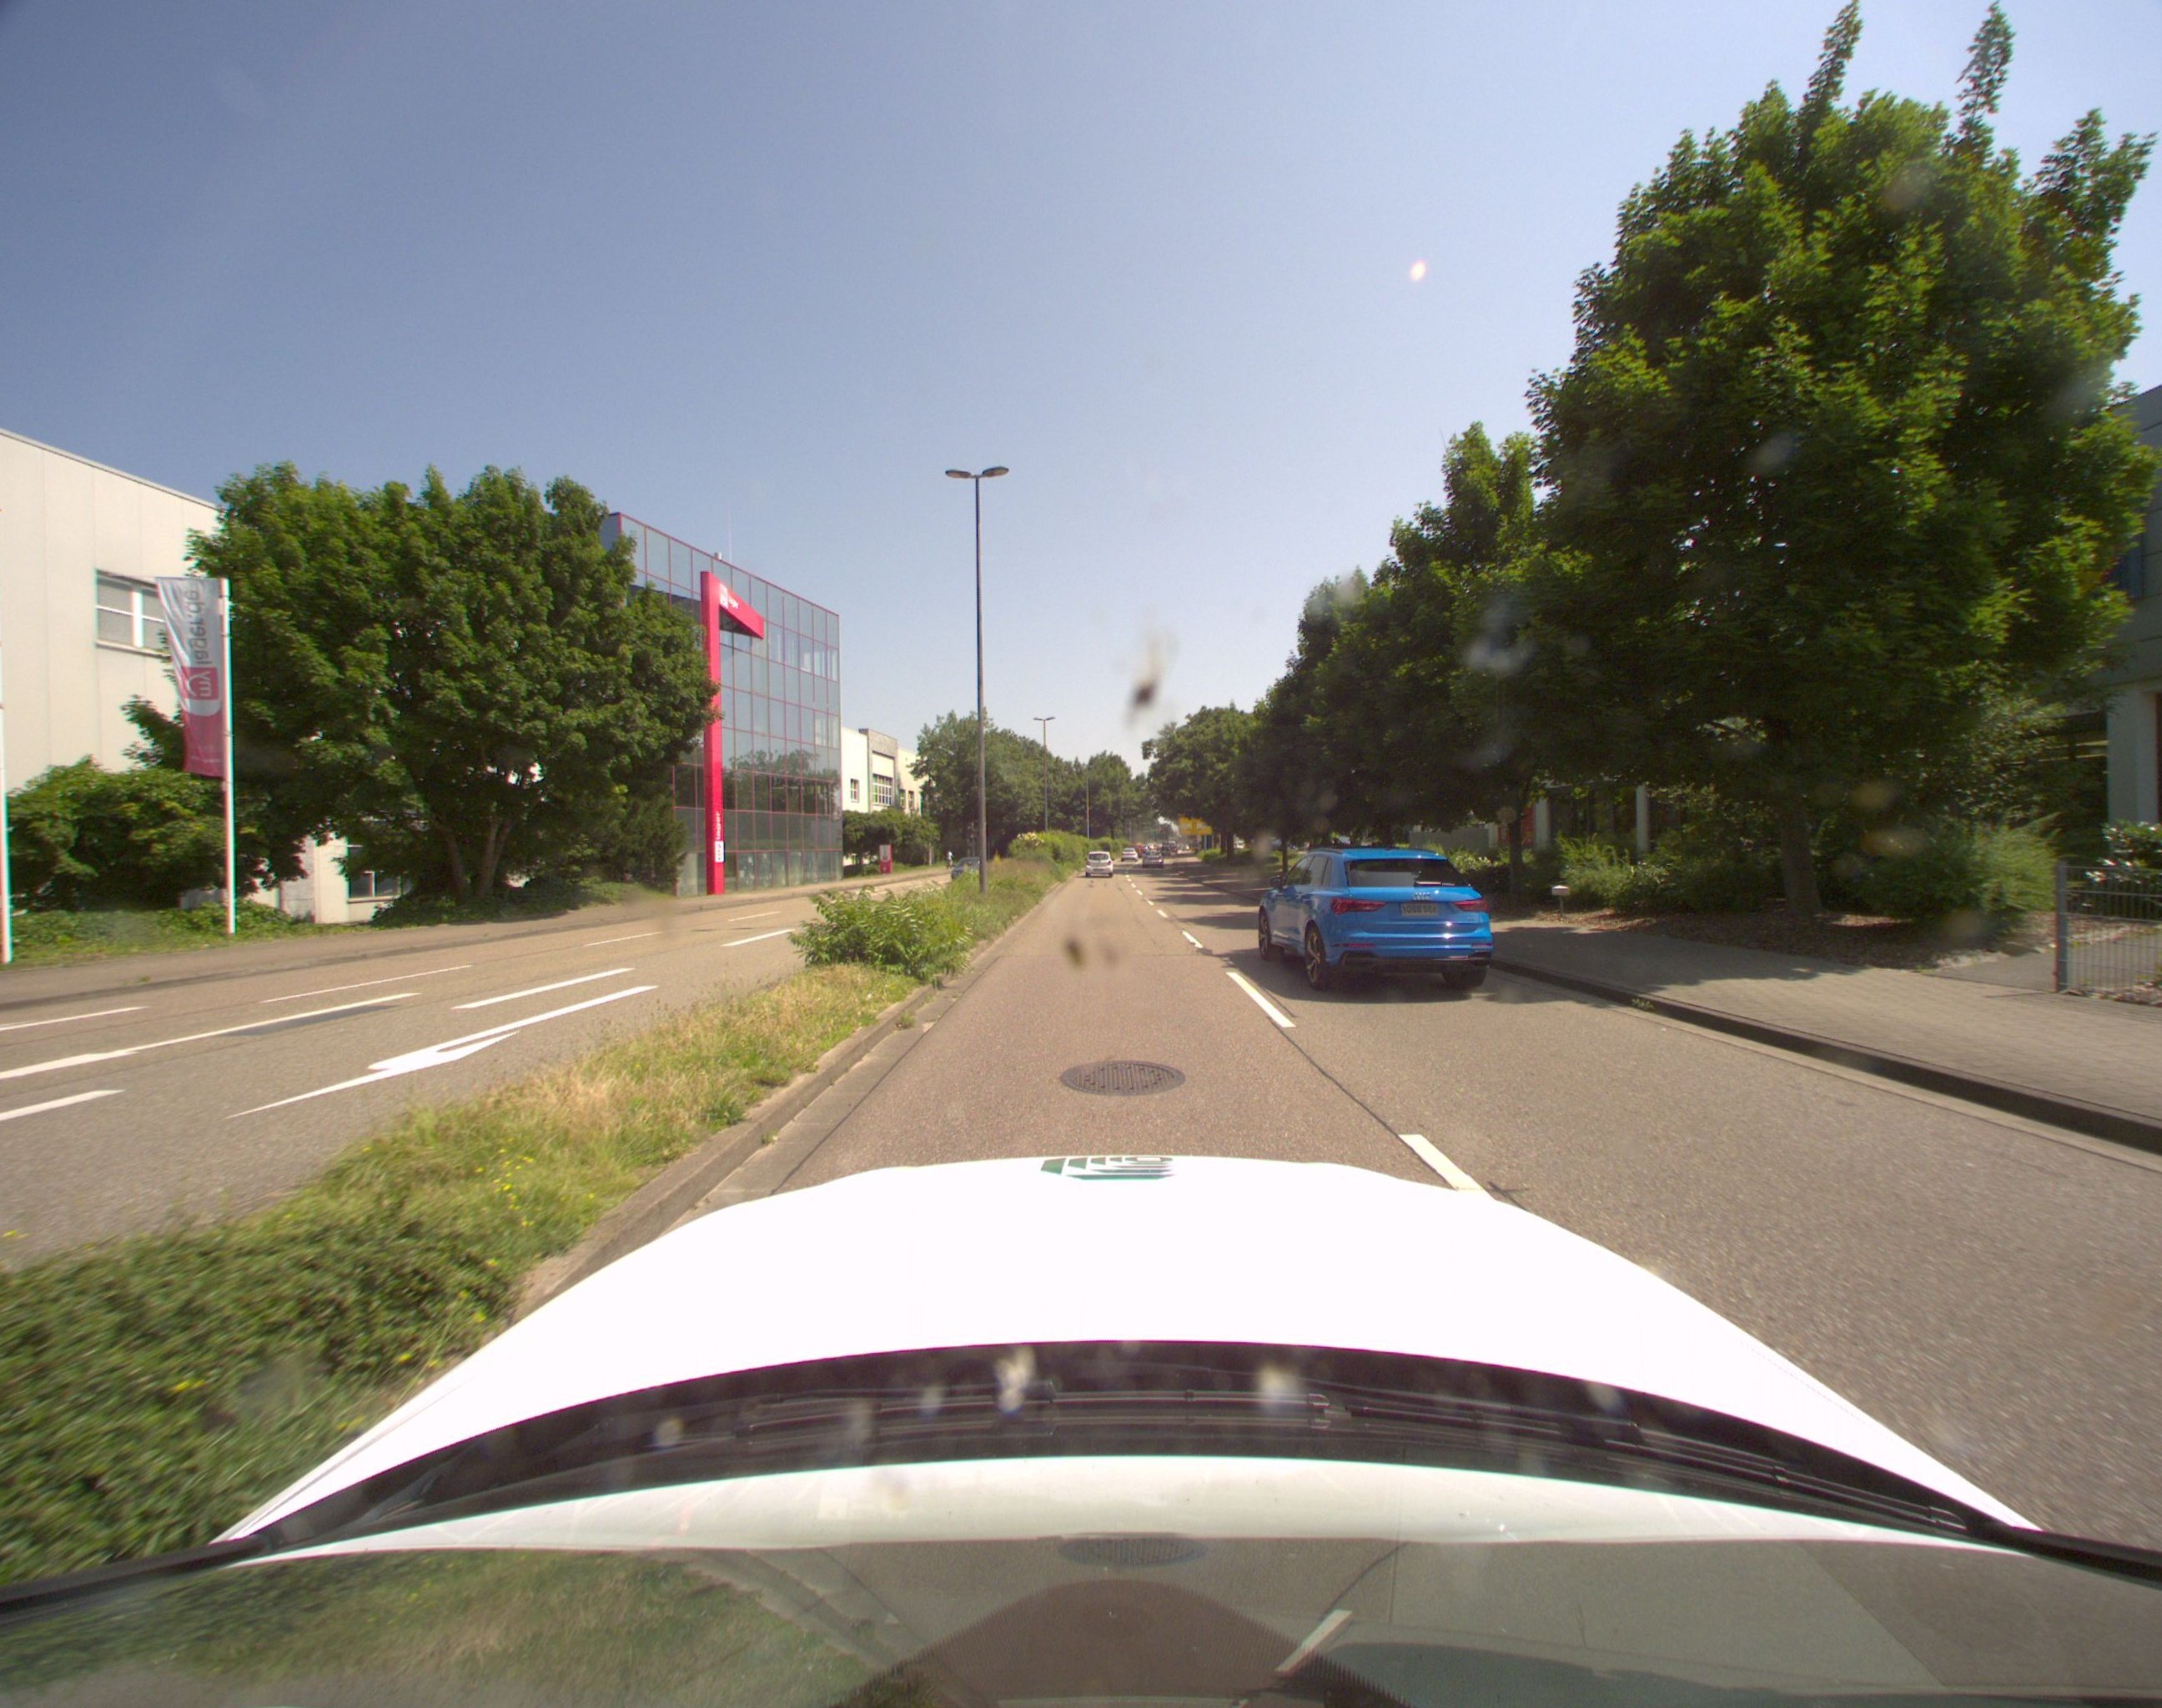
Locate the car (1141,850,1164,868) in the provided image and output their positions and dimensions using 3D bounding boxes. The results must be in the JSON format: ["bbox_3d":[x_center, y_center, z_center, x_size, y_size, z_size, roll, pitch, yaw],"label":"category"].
[{"bbox_3d":[5.977,0.423,67.856,1.857,1.473,4.005,0,0,5],"label":"car"}]

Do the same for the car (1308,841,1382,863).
[{"bbox_3d":[17.940,-0.119,55.571,1.959,1.352,4.669,-2,0,-30],"label":"car"}]

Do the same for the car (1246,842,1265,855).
[{"bbox_3d":[16.264,-0.502,76.107,1.609,1.253,3.774,0,0,10],"label":"car"}]

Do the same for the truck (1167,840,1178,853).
[{"bbox_3d":[26.058,-2.203,232.673,2.916,3.502,9.177,-1,1,7],"label":"truck"}]

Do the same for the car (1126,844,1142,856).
[{"bbox_3d":[6.823,-0.522,104.864,1.875,1.608,4.008,0,0,7],"label":"car"}]

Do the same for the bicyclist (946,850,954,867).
[{"bbox_3d":[-11.465,0.391,71.424,0.543,1.509,0.343,-4,0,1],"label":"bicyclist"}]

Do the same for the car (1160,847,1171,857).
[{"bbox_3d":[12.699,-0.317,122.232,1.436,1.348,3.461,-3,0,2],"label":"car"}]

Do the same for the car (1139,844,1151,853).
[{"bbox_3d":[9.473,-0.820,120.719,1.481,1.392,3.309,0,0,2],"label":"car"}]

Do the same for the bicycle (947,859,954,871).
[{"bbox_3d":[-11.431,0.954,71.485,0.345,1.067,0.923,-3,0,2],"label":"bicycle"}]

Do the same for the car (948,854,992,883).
[{"bbox_3d":[-6.176,0.778,45.611,1.715,1.416,4.248,-3,0,1],"label":"car"}]

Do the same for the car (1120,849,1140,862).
[{"bbox_3d":[5.326,0.125,88.296,1.874,1.354,4.008,0,0,7],"label":"car"}]

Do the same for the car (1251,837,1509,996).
[{"bbox_3d":[3.467,0.628,10.394,1.802,1.593,4.351,0,0,1],"label":"car"}]

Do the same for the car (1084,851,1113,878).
[{"bbox_3d":[1.116,0.623,49.357,1.631,1.552,3.328,-1,0,3],"label":"car"}]
